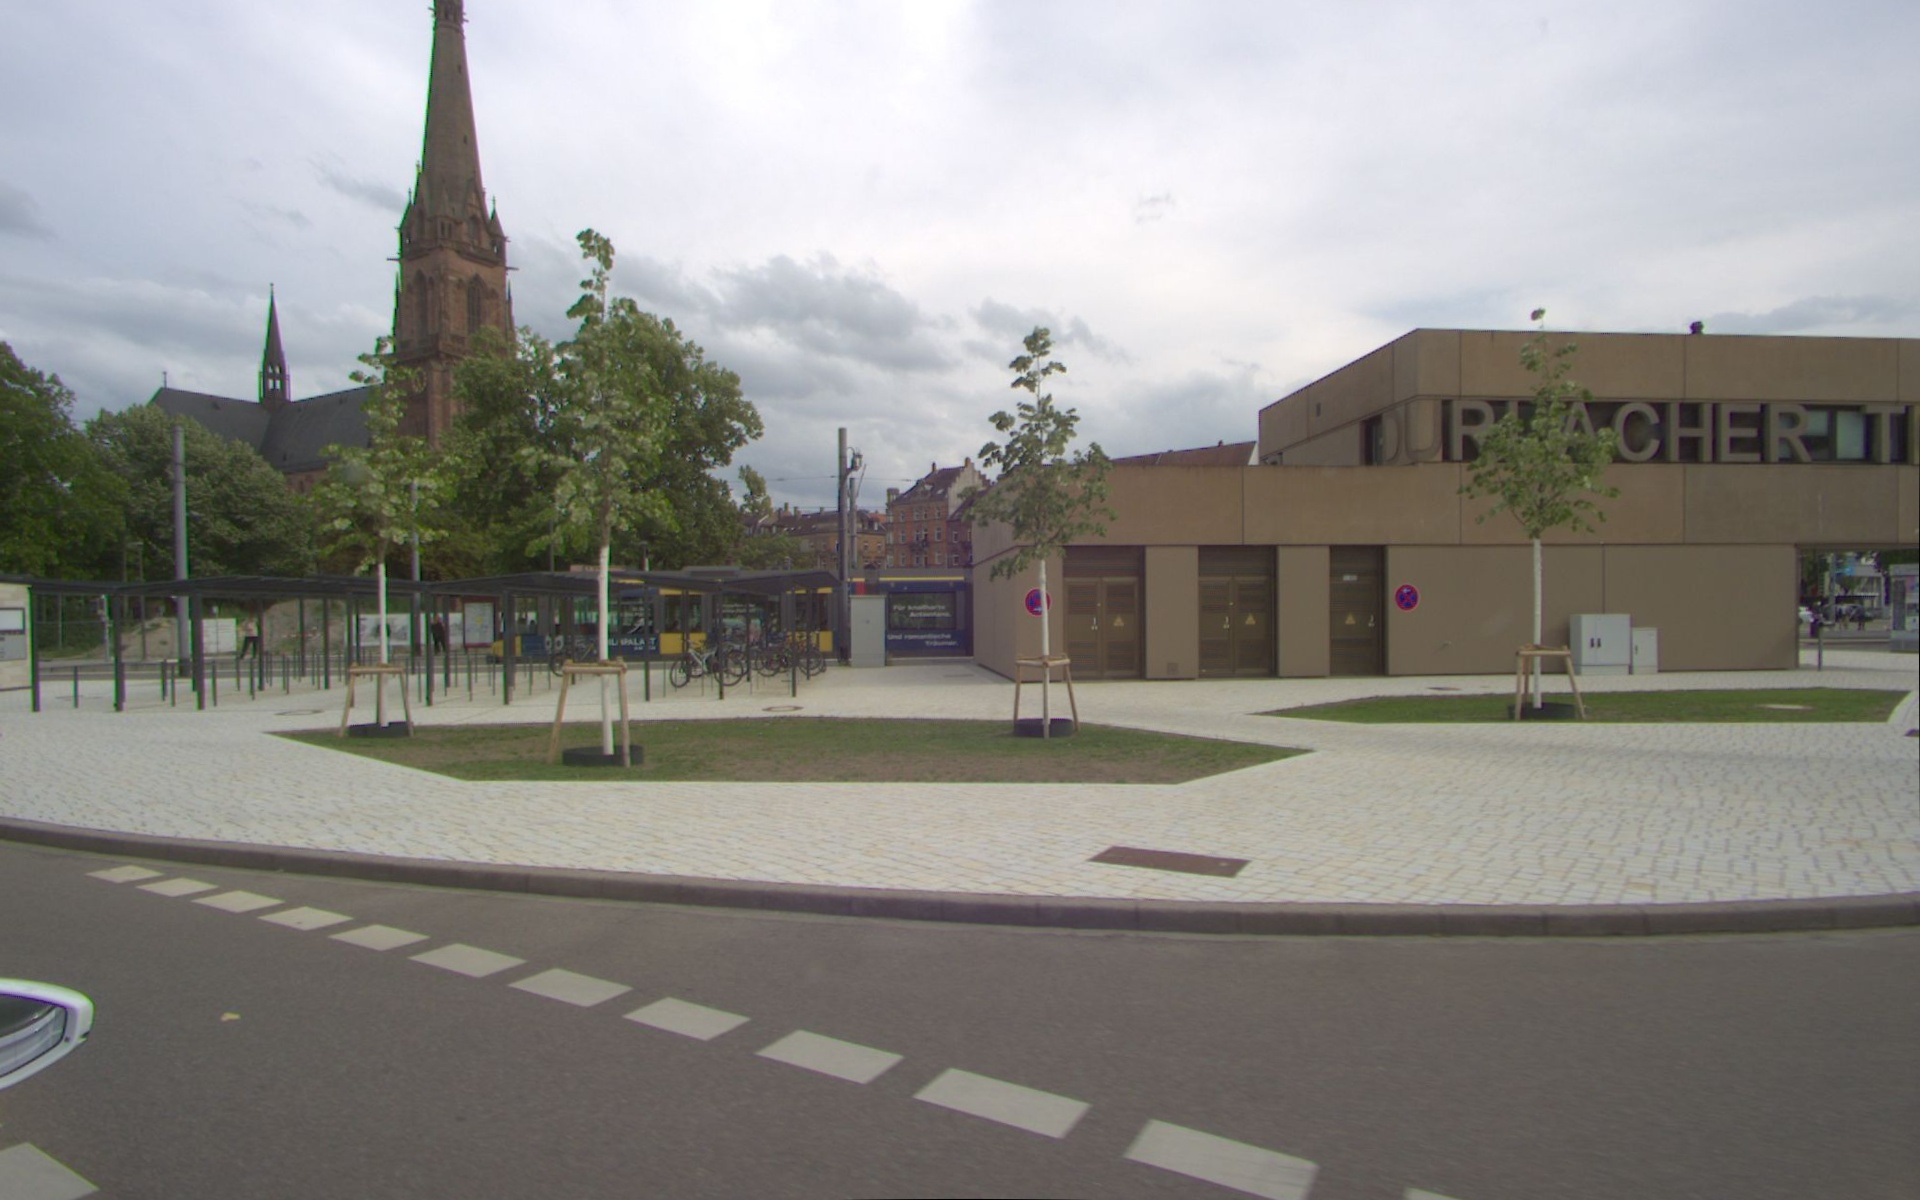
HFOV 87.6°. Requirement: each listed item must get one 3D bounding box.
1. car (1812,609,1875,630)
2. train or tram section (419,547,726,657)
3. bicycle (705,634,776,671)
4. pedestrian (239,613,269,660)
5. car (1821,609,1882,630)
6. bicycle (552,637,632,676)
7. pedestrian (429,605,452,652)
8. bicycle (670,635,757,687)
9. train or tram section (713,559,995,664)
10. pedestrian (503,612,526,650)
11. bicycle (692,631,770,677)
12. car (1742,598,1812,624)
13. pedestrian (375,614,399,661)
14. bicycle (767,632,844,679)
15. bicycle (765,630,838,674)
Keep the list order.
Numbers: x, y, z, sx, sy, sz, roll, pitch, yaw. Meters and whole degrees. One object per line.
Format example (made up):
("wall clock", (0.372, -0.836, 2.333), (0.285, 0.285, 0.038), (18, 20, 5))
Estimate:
("car", (76.798, 1.677, 87.079), (1.590, 1.706, 3.959), (1, 1, -44))
("train or tram section", (-12.854, 0.089, 33.963), (9.189, 3.321, 3.061), (1, 1, -5))
("bicycle", (-6.262, 1.492, 28.666), (1.929, 0.983, 0.583), (1, 1, -8))
("pedestrian", (-27.812, 1.426, 39.424), (0.743, 1.825, 0.817), (2, 1, 42))
("car", (79.646, 1.741, 89.516), (1.590, 1.706, 3.959), (1, 1, -44))
("bicycle", (-9.920, 1.521, 27.024), (1.929, 0.968, 0.583), (1, 1, -8))
("pedestrian", (-20.714, 1.135, 39.912), (0.665, 1.825, 0.522), (1, 1, -12))
("bicycle", (-5.763, 1.432, 23.493), (1.931, 1.172, 0.583), (1, 1, -14))
("train or tram section", (-3.590, 0.391, 34.787), (9.248, 3.256, 3.061), (1, 1, -5))
("pedestrian", (-17.941, 1.254, 40.335), (0.665, 1.505, 0.689), (1, 1, -12))
("bicycle", (-6.002, 1.414, 26.269), (1.931, 1.172, 0.583), (1, 1, -14))
("car", (62.204, 0.821, 76.252), (3.956, 1.879, 1.982), (2, 1, 44))
("pedestrian", (-22.661, 1.467, 39.612), (0.665, 1.825, 0.522), (1, 1, -12))
("bicycle", (-4.076, 1.464, 26.350), (1.931, 1.172, 0.583), (1, 1, -14))
("bicycle", (-4.392, 1.450, 27.770), (1.931, 1.172, 0.583), (1, 1, -14))
